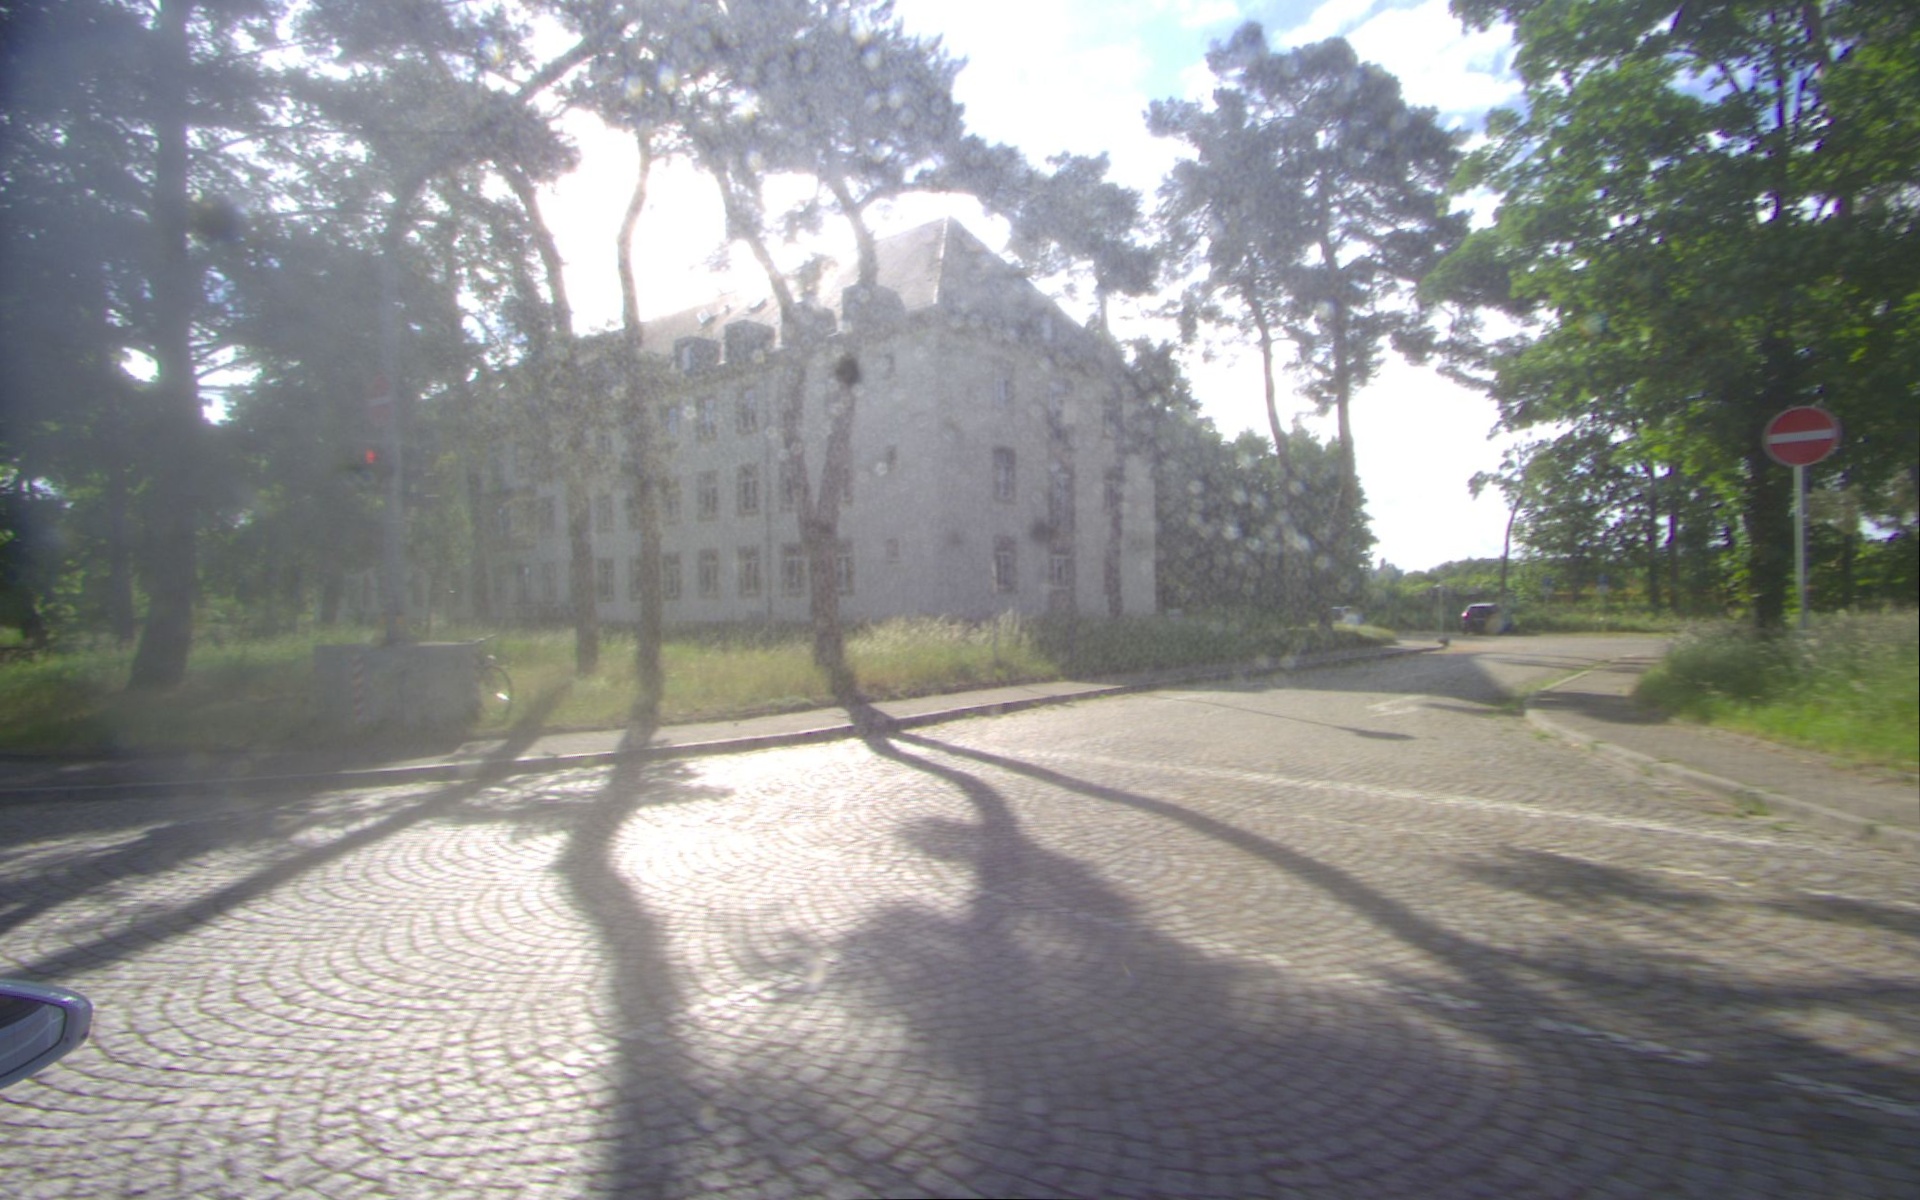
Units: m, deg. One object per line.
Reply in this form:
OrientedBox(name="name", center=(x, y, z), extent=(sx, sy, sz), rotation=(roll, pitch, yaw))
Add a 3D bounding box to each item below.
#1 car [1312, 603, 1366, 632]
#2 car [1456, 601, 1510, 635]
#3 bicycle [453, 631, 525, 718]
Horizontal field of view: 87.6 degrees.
OrientedBox(name="car", center=(20.989, 0.946, 55.368), extent=(1.823, 1.483, 3.973), rotation=(-1, 0, 36))
OrientedBox(name="car", center=(26.165, 0.874, 50.040), extent=(1.832, 1.620, 3.973), rotation=(0, 0, 36))
OrientedBox(name="bicycle", center=(-6.229, 0.962, 13.224), extent=(1.161, 1.094, 0.463), rotation=(-1, 0, 44))
